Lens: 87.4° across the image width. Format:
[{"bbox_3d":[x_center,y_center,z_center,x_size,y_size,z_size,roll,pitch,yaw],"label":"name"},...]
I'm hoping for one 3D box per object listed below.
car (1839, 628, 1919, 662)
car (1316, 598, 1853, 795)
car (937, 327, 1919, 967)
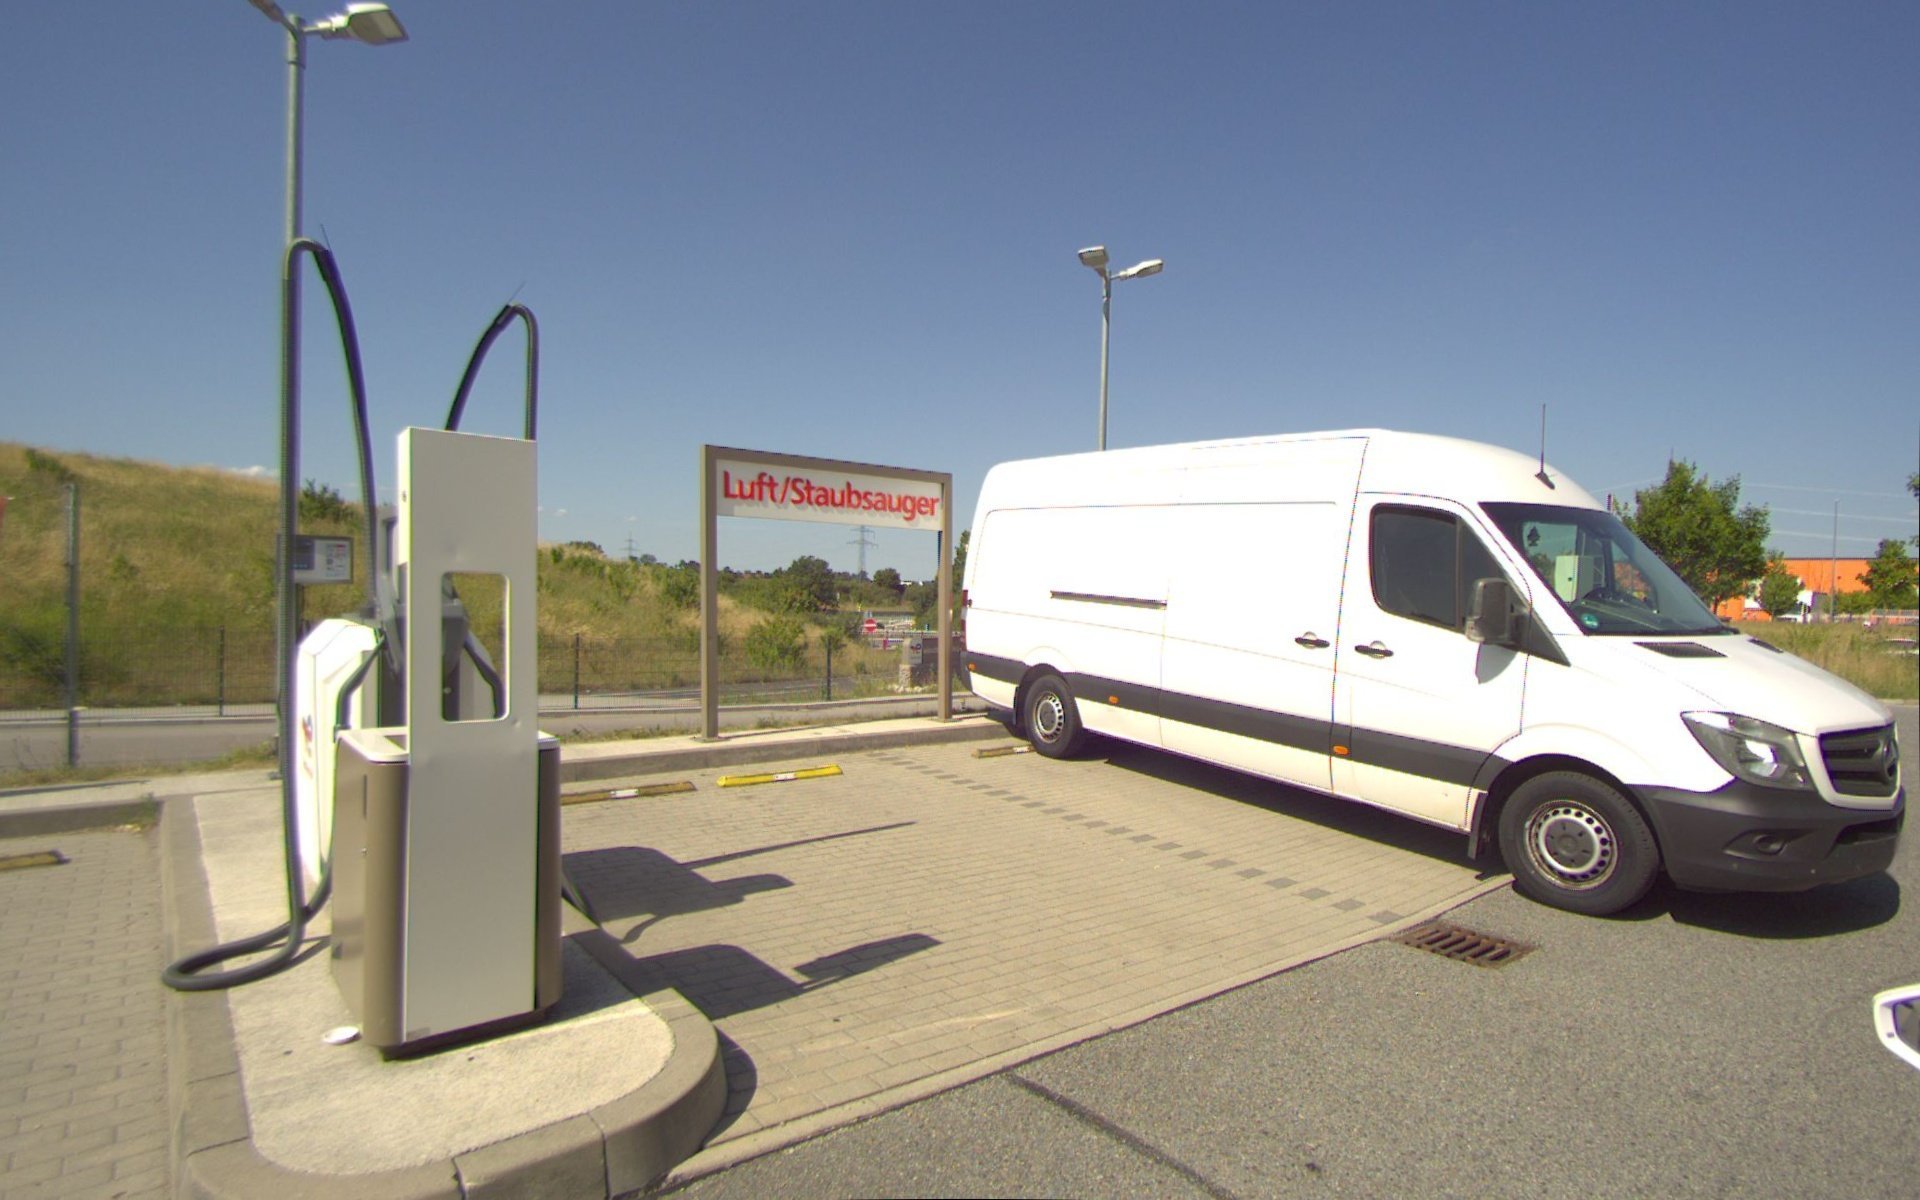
[{"bbox_3d":[39.939,1.897,42.683,1.472,1.316,3.704,1,0,-37],"label":"car"},{"bbox_3d":[6.056,0.777,10.232,1.777,1.447,4.274,1,1,-38],"label":"car"},{"bbox_3d":[2.498,0.056,7.566,1.978,2.606,6.967,1,2,-32],"label":"car"}]
